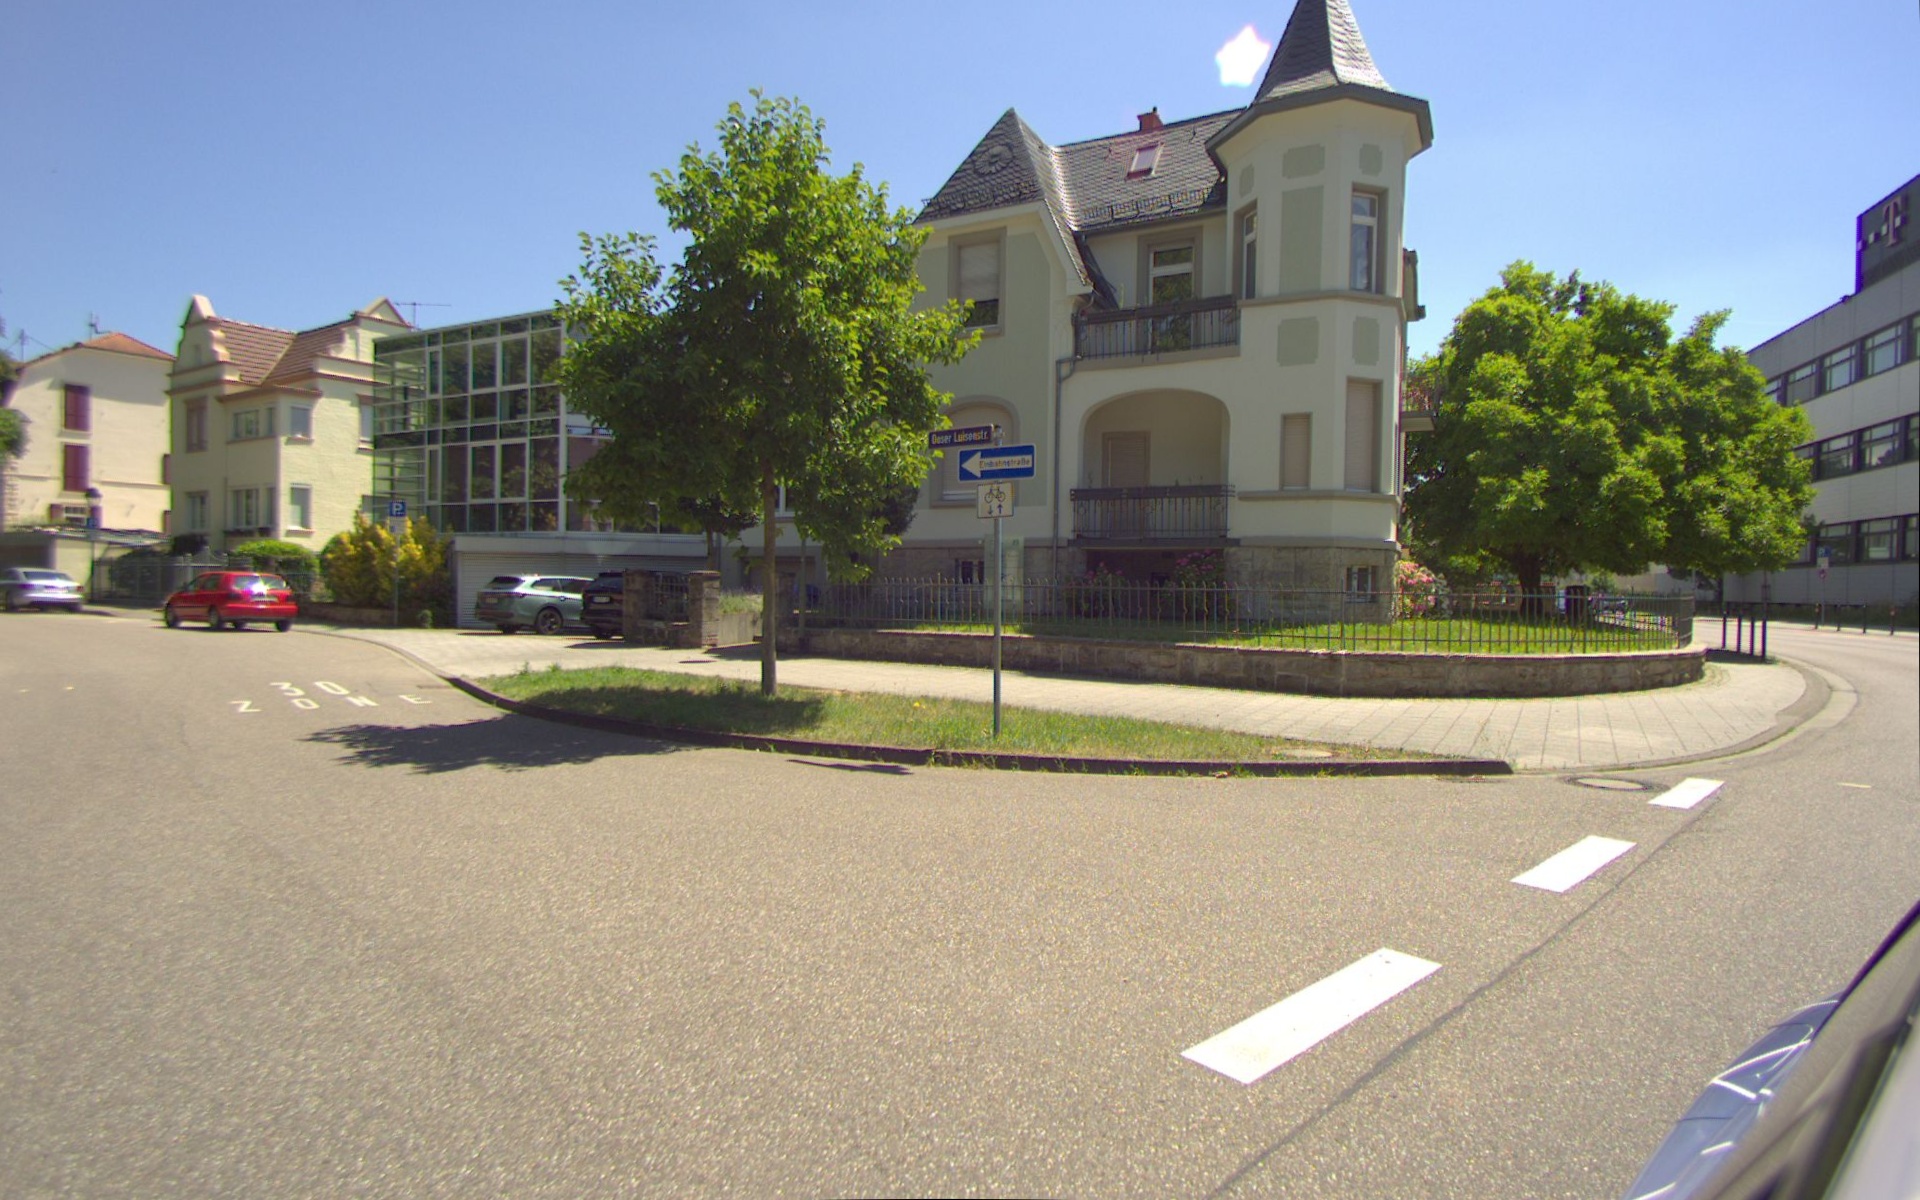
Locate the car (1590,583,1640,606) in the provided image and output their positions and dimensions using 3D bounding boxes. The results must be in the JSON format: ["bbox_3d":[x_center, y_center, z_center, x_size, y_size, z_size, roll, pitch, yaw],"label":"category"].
[{"bbox_3d":[42.637,-0.369,66.002,1.713,1.467,4.007,0,1,18],"label":"car"}]

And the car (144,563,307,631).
[{"bbox_3d":[-18.168,-0.090,25.018,3.964,1.543,1.736,1,0,29],"label":"car"}]

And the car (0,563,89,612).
[{"bbox_3d":[-30.732,-0.451,33.499,3.967,1.526,1.735,2,1,31],"label":"car"}]

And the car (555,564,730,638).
[{"bbox_3d":[-7.556,-0.032,24.492,1.978,1.587,3.970,2,2,23],"label":"car"}]

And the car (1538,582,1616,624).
[{"bbox_3d":[24.956,0.083,41.102,1.751,1.560,3.978,2,1,18],"label":"car"}]

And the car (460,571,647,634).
[{"bbox_3d":[-10.059,-0.012,25.283,1.986,1.408,3.952,2,2,34],"label":"car"}]

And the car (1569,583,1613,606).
[{"bbox_3d":[44.294,-0.422,71.114,1.723,1.521,3.713,0,1,18],"label":"car"}]
